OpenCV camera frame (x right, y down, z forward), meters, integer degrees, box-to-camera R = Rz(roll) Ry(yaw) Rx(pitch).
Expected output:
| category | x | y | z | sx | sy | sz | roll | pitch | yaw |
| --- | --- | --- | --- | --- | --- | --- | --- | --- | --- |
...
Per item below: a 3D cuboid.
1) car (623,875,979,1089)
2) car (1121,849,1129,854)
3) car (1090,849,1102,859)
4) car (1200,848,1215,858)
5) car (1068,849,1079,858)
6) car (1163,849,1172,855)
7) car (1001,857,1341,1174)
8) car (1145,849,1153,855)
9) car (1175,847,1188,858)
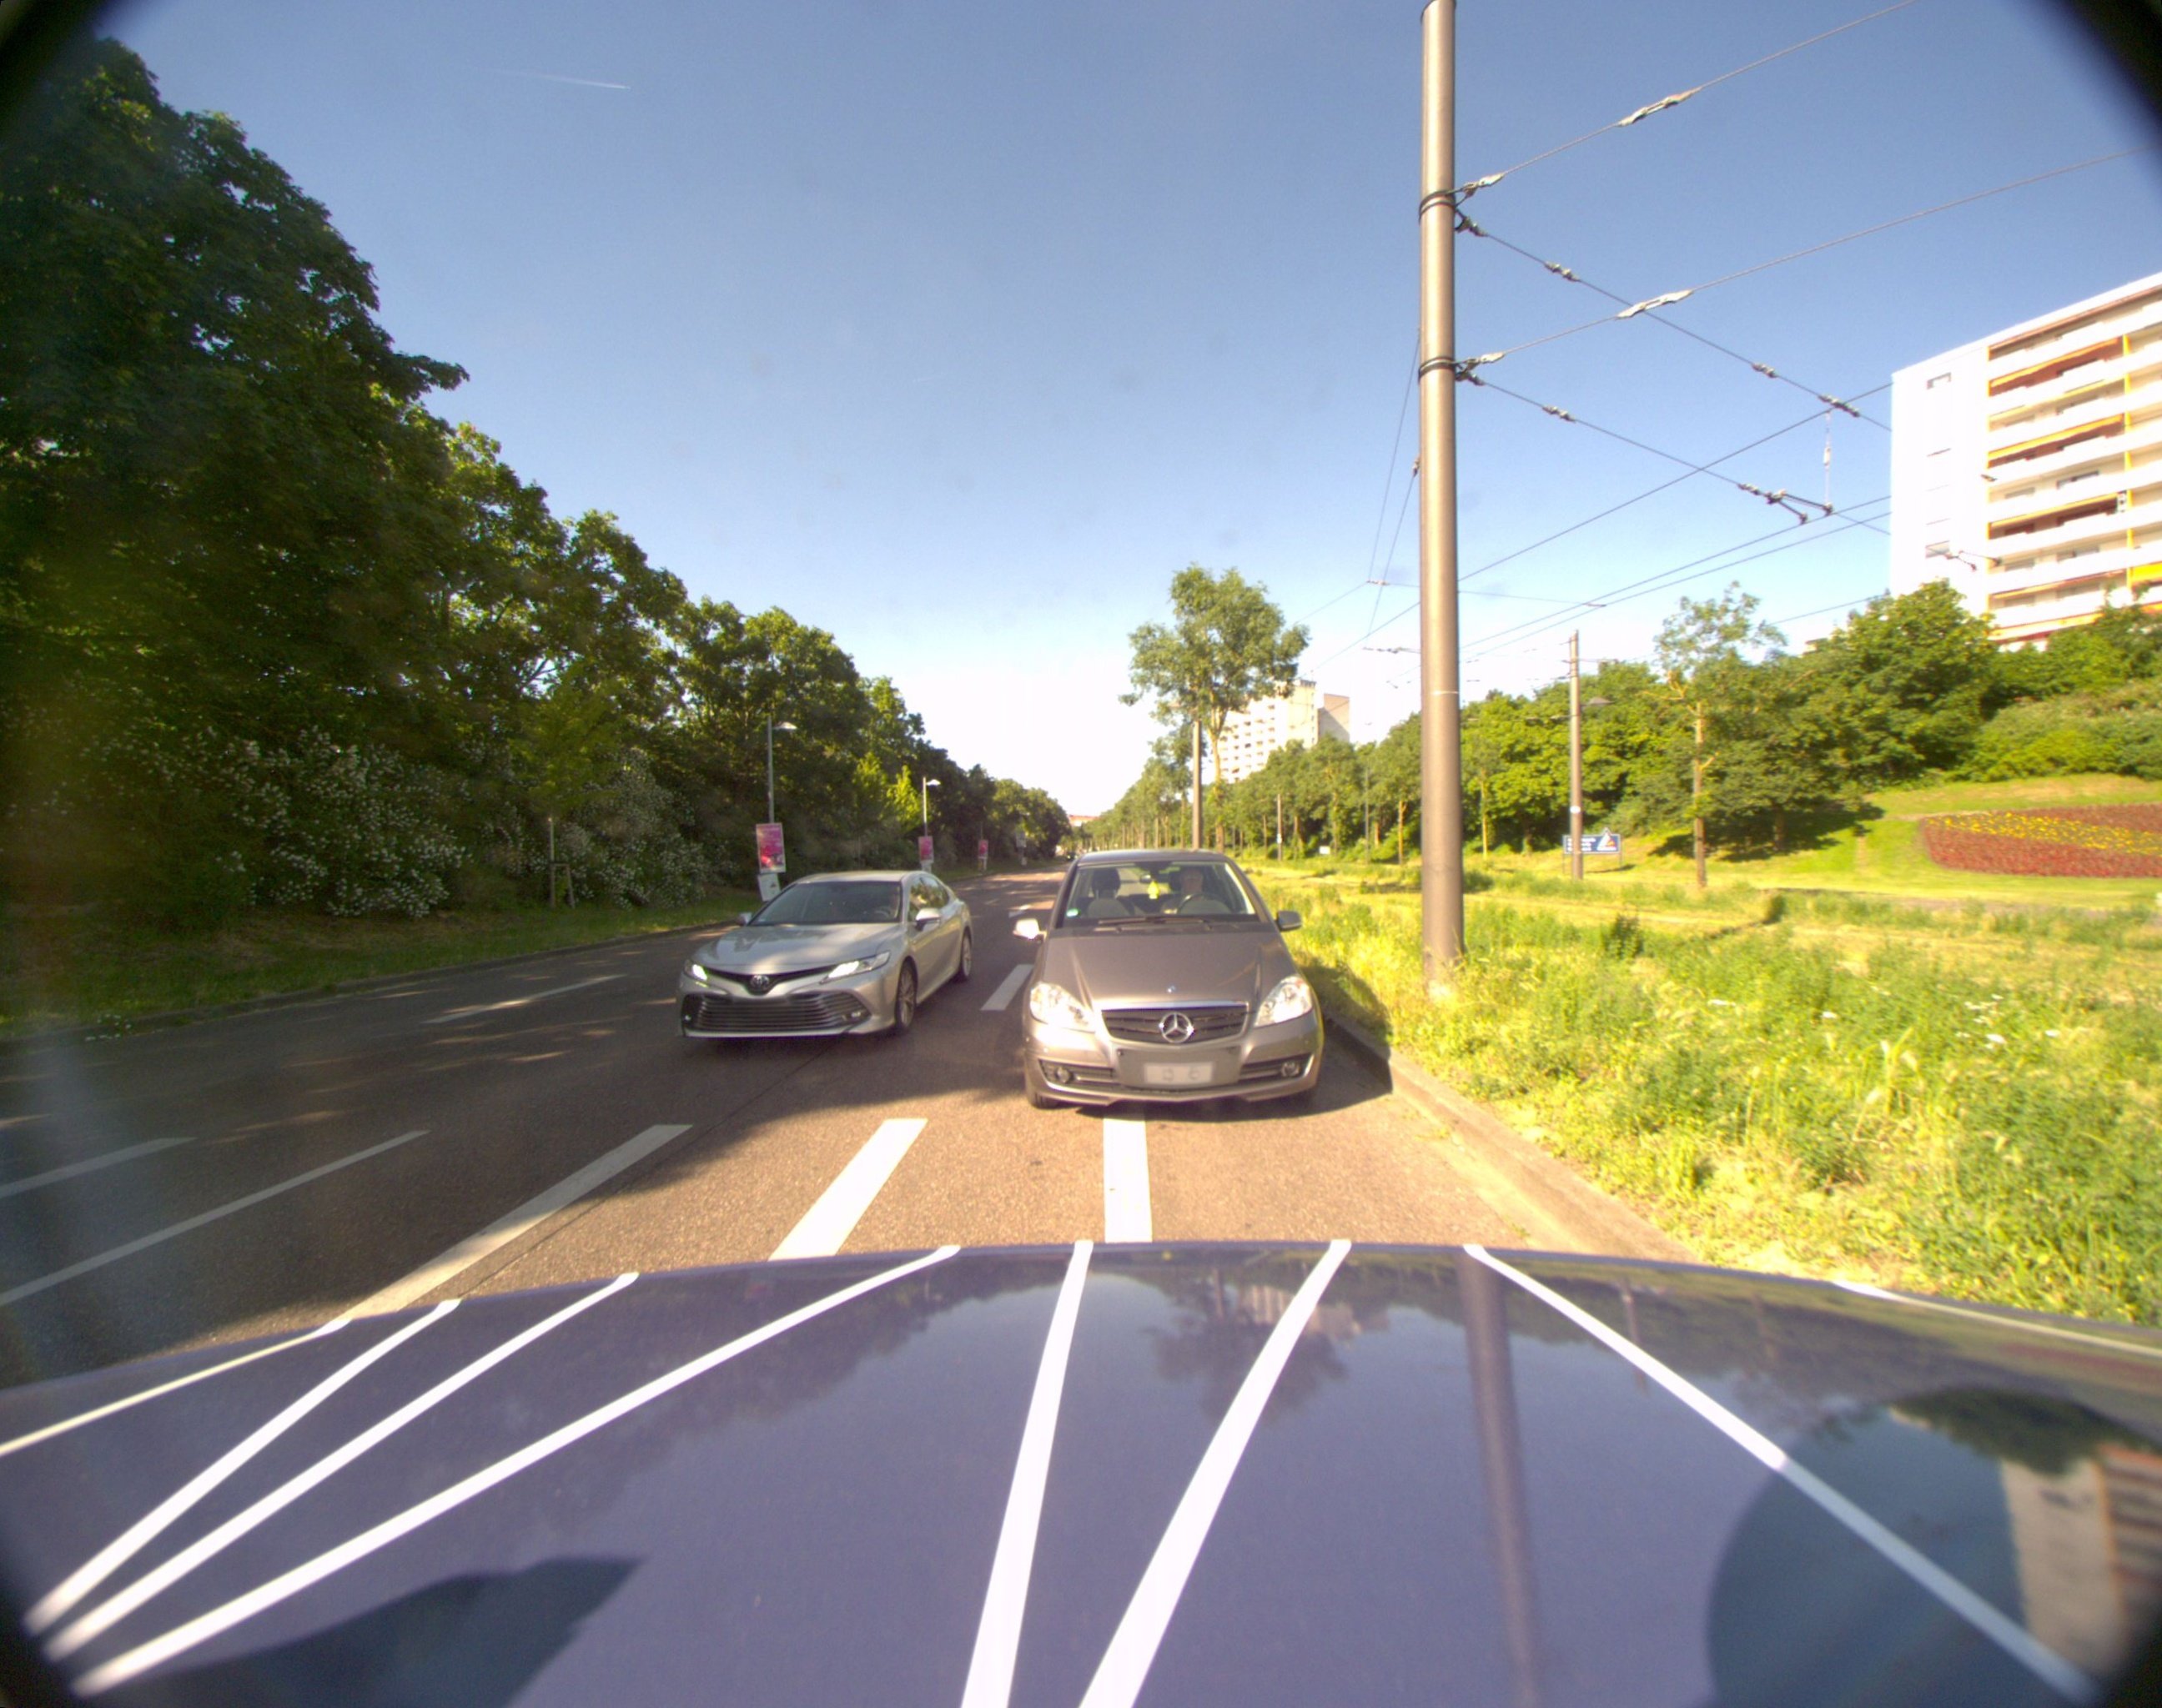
| category | x | y | z | sx | sy | sz | roll | pitch | yaw |
| --- | --- | --- | --- | --- | --- | --- | --- | --- | --- |
| car | -2.399 | 1.021 | 7.962 | 1.876 | 1.428 | 4.594 | -1 | 0 | 2 |
| car | 11.717 | -0.713 | 201.867 | 1.799 | 1.408 | 4.309 | -1 | 0 | -1 |
| car | 2.469 | 0.001 | 124.625 | 1.998 | 1.702 | 4.000 | -1 | 0 | 1 |
| car | 21.868 | -0.161 | 131.172 | 1.998 | 1.565 | 4.106 | -1 | 0 | 1 |
| car | -1.487 | -0.139 | 151.947 | 1.998 | 1.702 | 4.000 | -1 | 0 | 1 |
| car | 19.293 | -0.495 | 169.786 | 1.780 | 1.368 | 4.001 | -1 | 0 | 3 |
| car | 0.500 | 0.855 | 5.918 | 1.759 | 1.612 | 3.880 | -1 | 0 | 1 |
| car | 16.943 | -0.424 | 190.355 | 1.792 | 1.499 | 4.241 | -1 | 0 | 3 |
| car | 19.702 | -0.284 | 148.772 | 1.998 | 1.955 | 4.907 | -1 | 0 | 1 |
